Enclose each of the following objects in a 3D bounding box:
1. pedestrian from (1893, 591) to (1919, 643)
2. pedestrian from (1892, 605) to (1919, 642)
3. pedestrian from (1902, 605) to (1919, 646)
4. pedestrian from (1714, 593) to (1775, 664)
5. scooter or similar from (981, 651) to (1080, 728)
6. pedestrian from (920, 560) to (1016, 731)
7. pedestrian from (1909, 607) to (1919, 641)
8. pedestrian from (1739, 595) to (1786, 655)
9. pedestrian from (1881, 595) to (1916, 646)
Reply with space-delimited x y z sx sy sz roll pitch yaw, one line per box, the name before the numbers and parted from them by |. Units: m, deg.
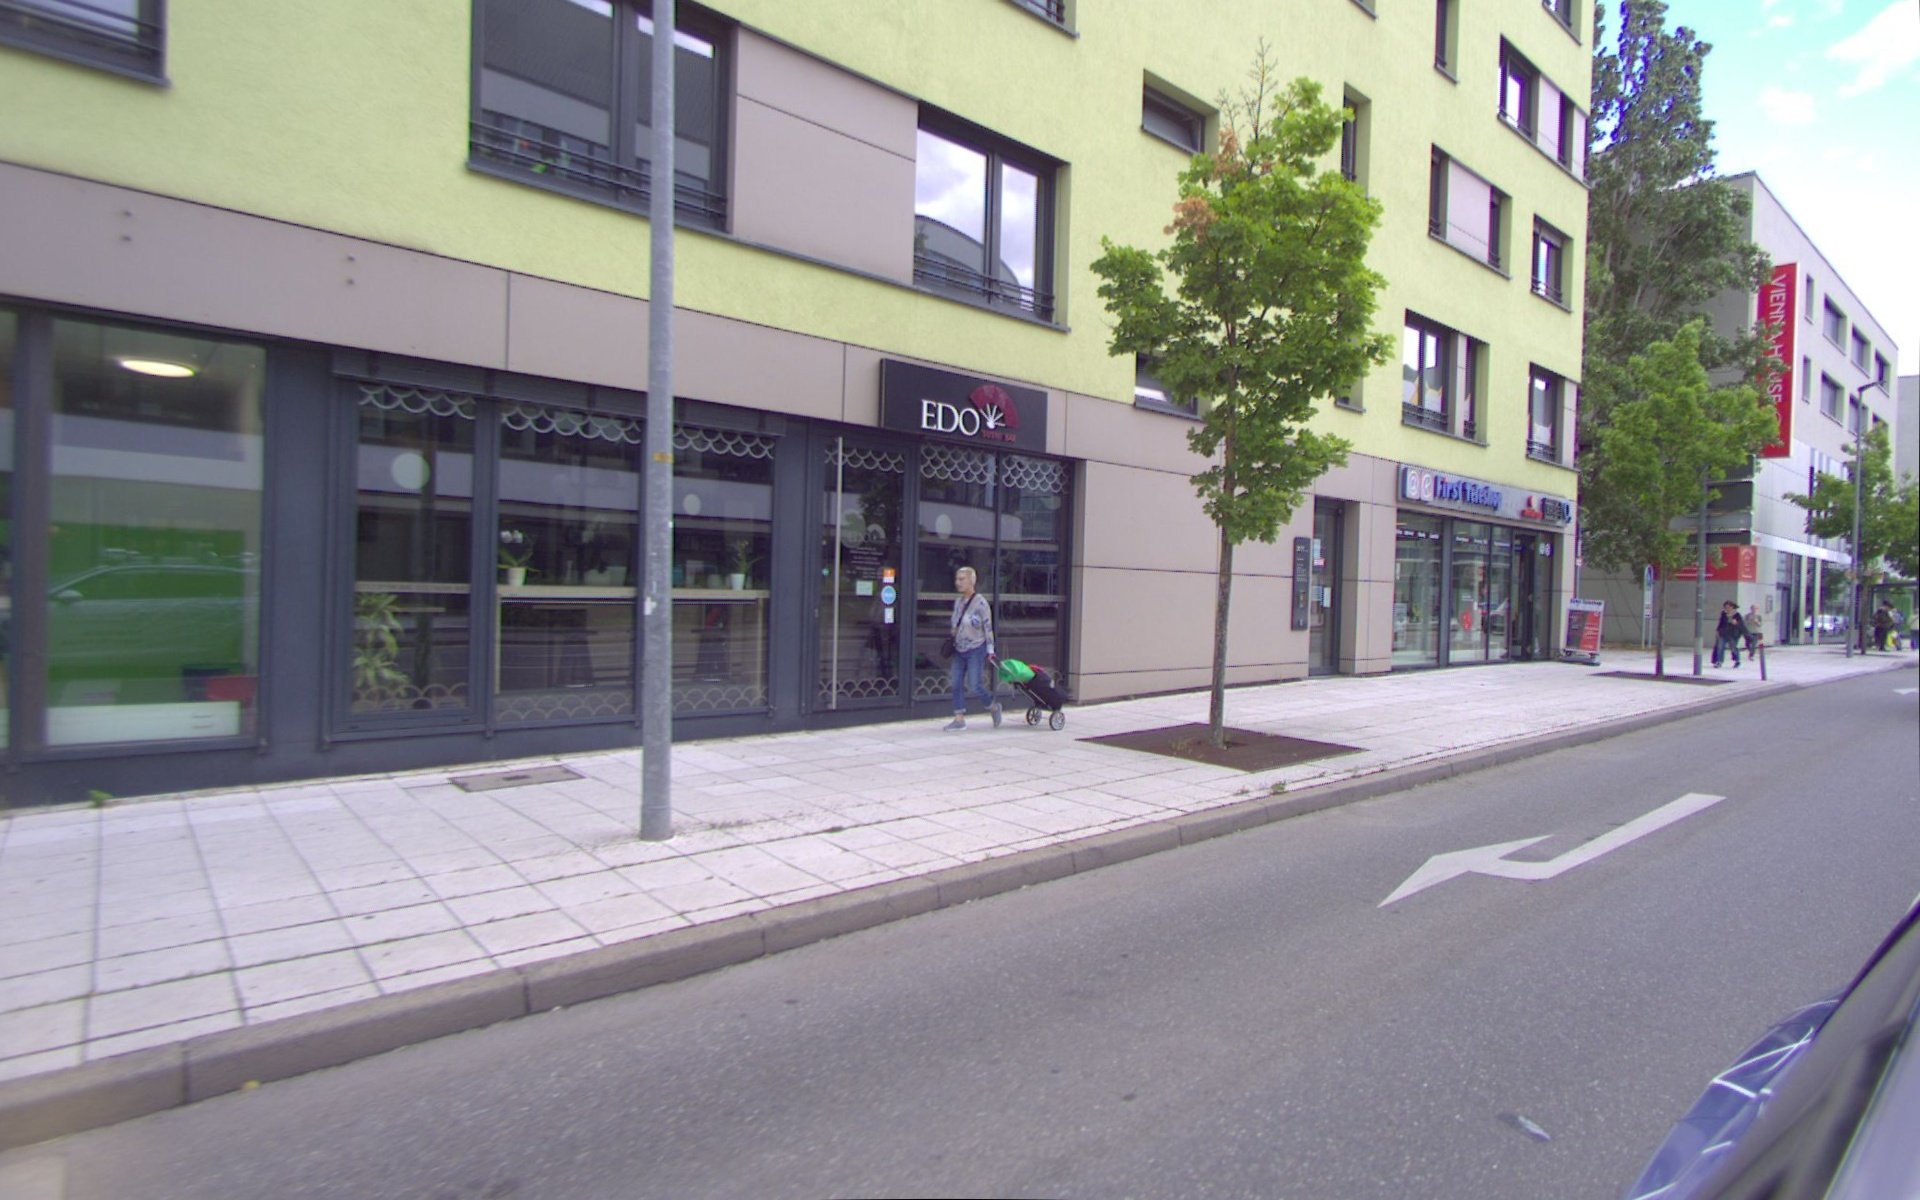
pedestrian | 33.668 0.593 35.918 0.840 1.791 0.581 1 1 -35
pedestrian | 34.415 0.840 36.595 0.720 1.274 0.944 0 2 -43
pedestrian | 38.749 1.022 41.004 0.702 1.628 0.742 1 0 -40
pedestrian | 18.515 0.644 23.896 0.998 1.603 0.949 1 1 -41
scooter or similar | 0.722 0.891 10.318 0.810 0.681 0.593 1 2 -41
pedestrian | 0.074 0.421 9.997 0.593 1.613 0.697 1 1 -41
pedestrian | 48.705 1.225 51.322 0.603 1.690 0.746 1 0 -40
pedestrian | 22.287 0.685 28.117 0.790 1.603 0.870 1 1 -41
pedestrian | 32.439 0.688 34.981 0.719 1.704 0.723 1 1 -35
